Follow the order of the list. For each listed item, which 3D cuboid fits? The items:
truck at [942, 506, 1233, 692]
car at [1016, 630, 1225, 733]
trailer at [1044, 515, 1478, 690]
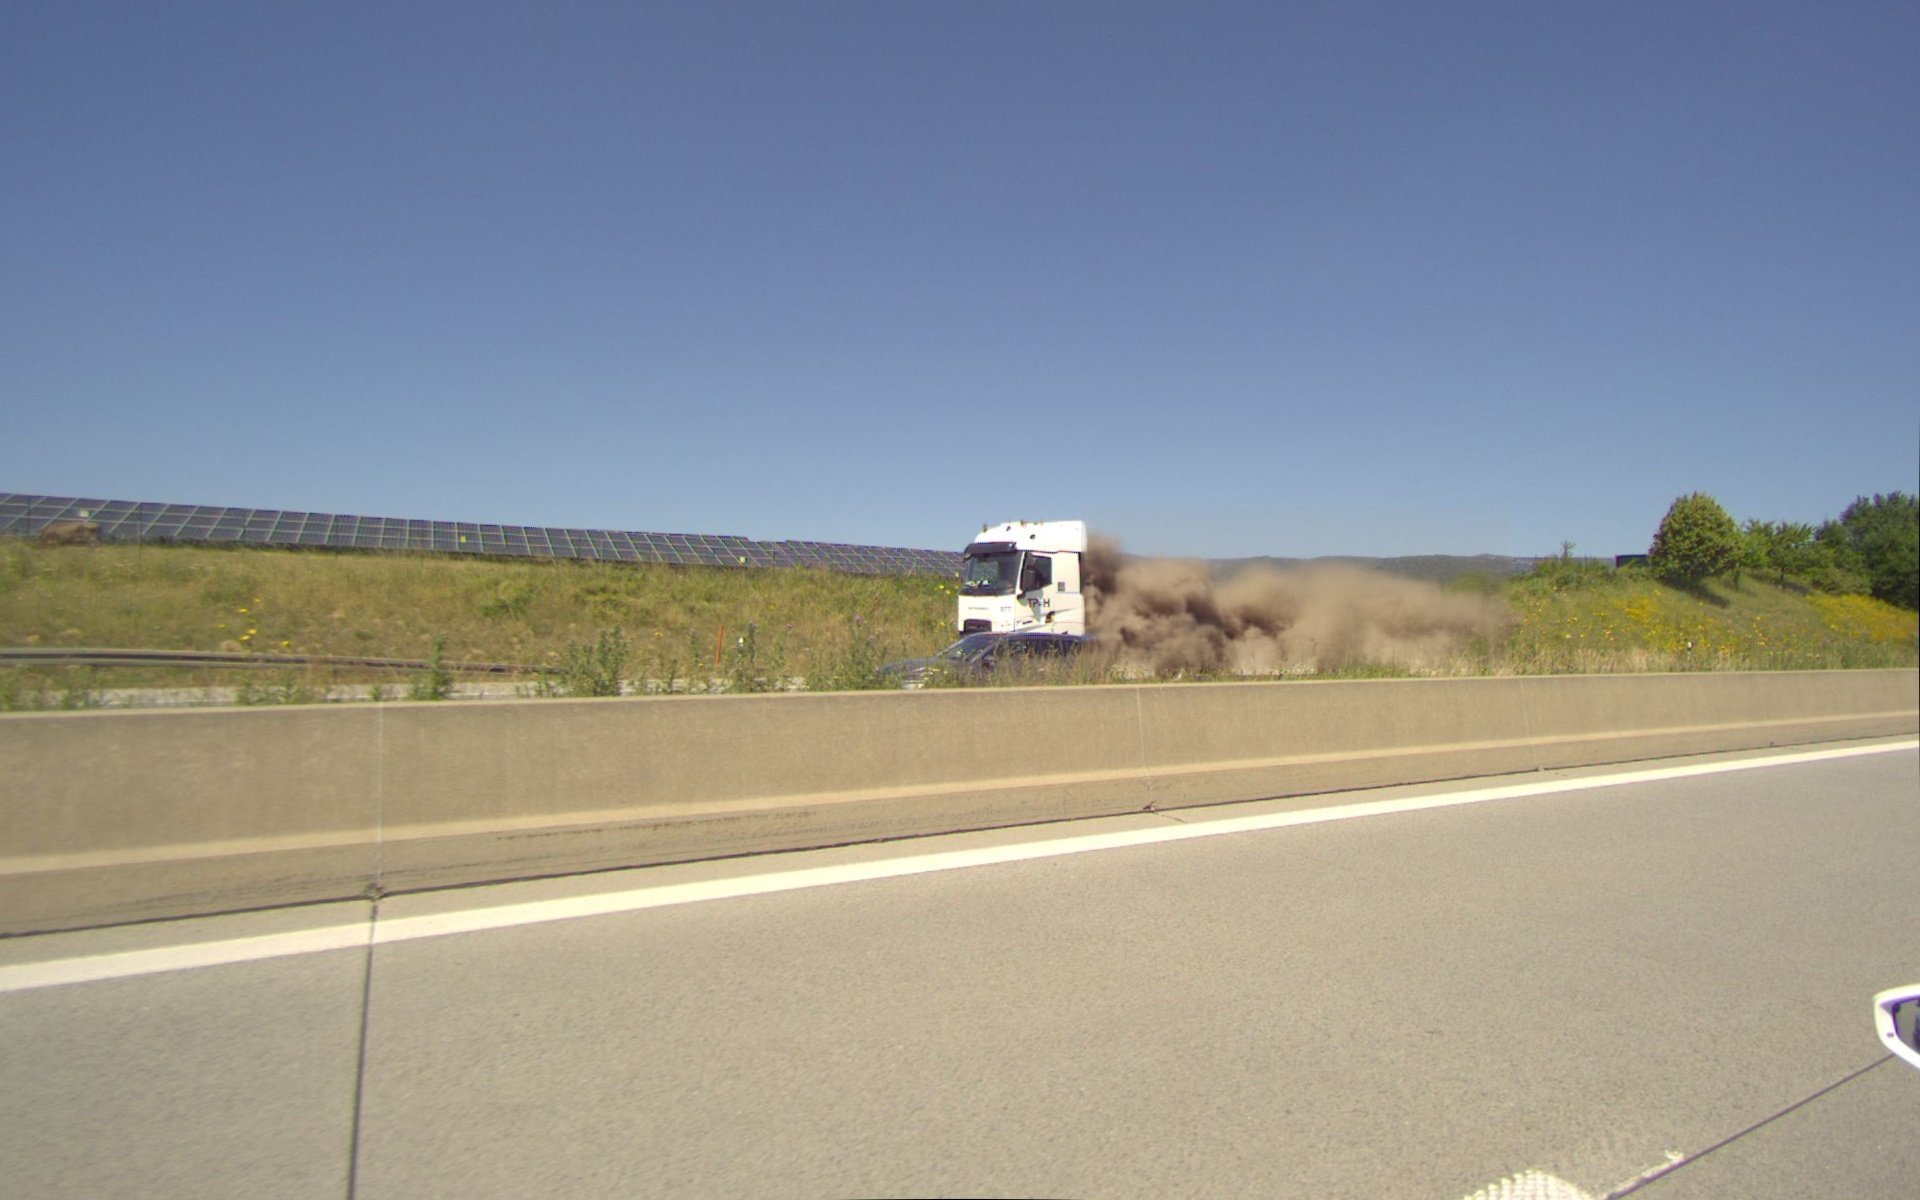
[{"bbox_3d":[3.255,0.069,25.172,6.787,4.114,2.977,1,-1,-30],"label":"truck"},{"bbox_3d":[3.249,1.557,20.157,3.954,1.847,1.734,1,-1,-31],"label":"car"},{"bbox_3d":[9.010,0.235,28.486,14.008,4.114,2.992,2,-1,-30],"label":"trailer"}]
